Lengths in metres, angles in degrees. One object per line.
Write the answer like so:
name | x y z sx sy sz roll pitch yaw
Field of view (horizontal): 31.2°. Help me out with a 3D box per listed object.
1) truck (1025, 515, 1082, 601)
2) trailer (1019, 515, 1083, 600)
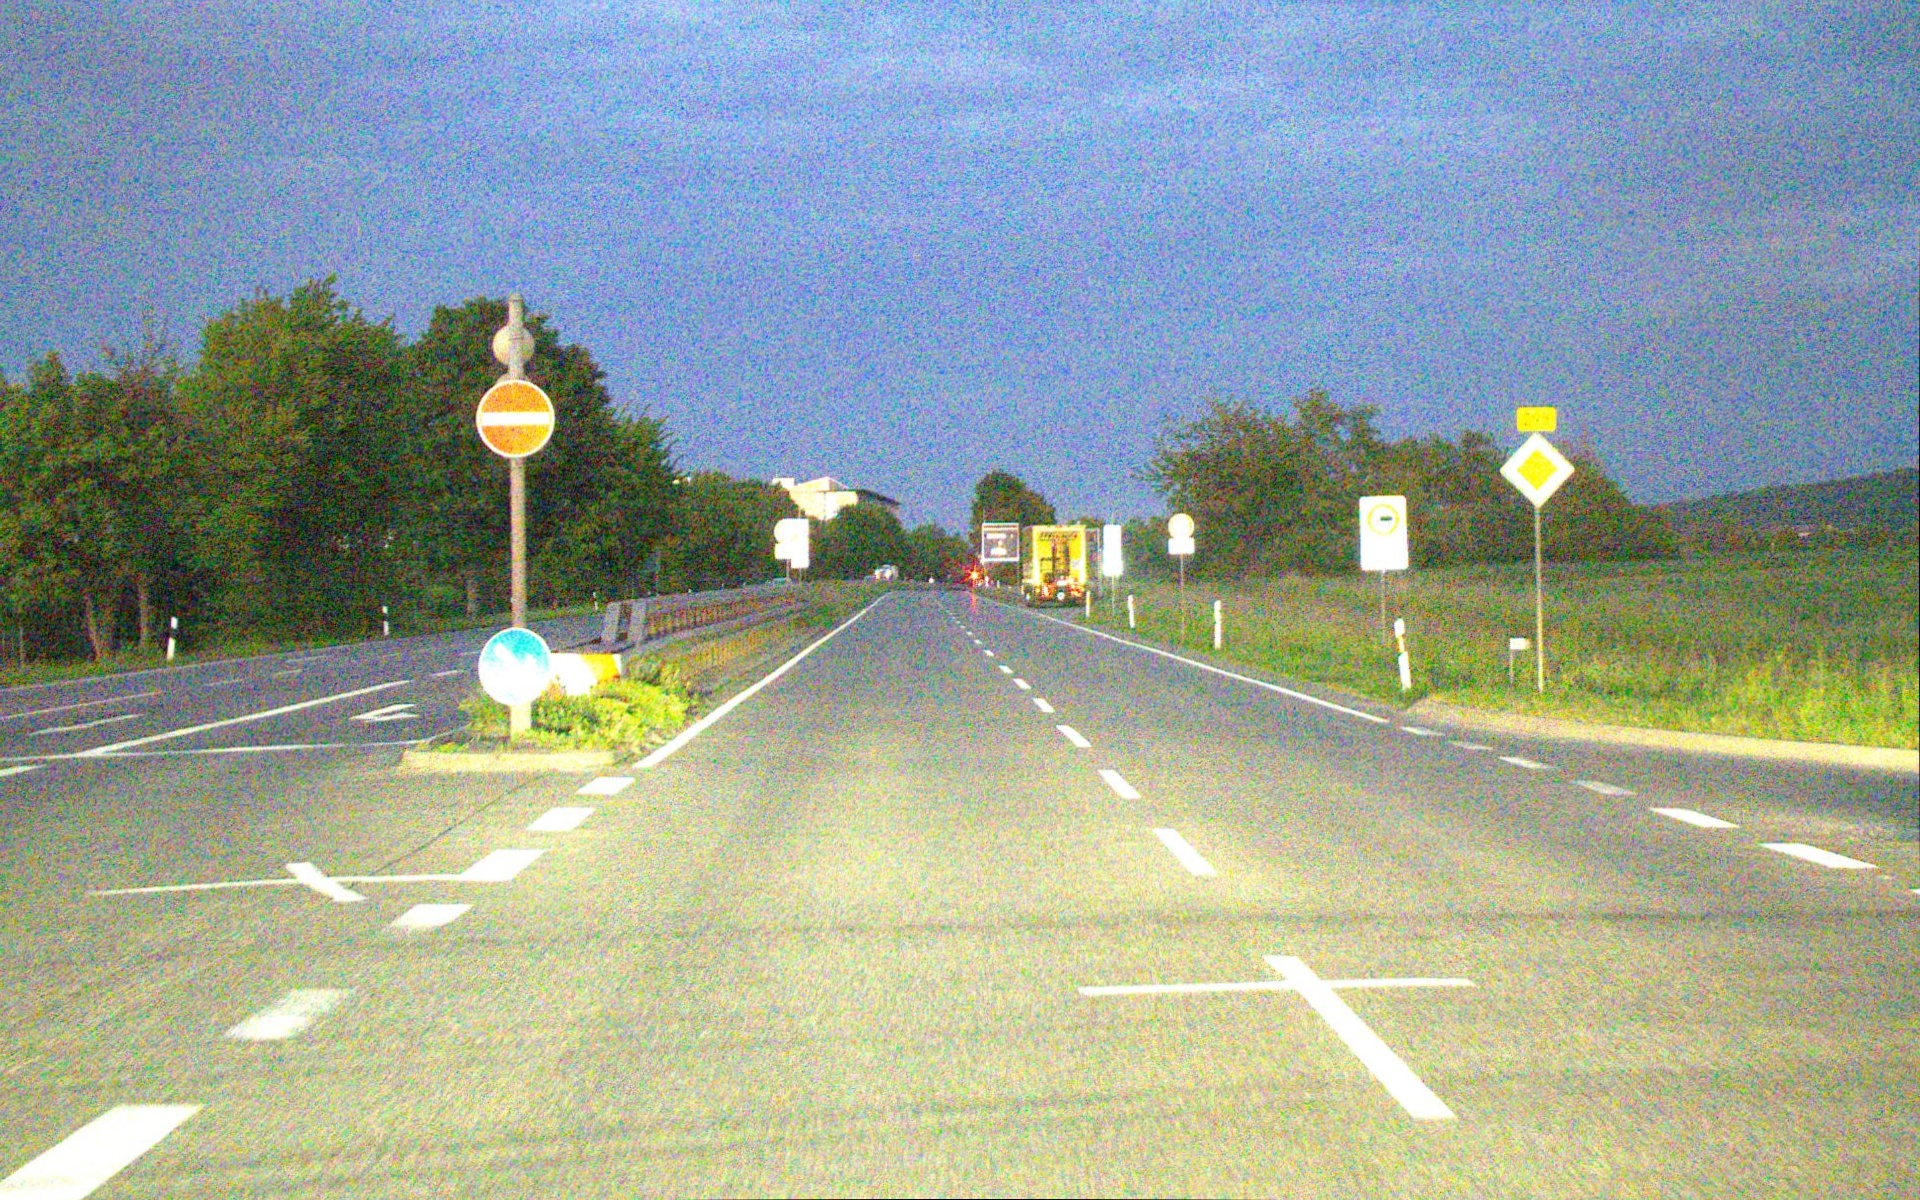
truck | 4.504 -2.039 166.253 2.579 4.057 6.130 1 1 0
trailer | 4.508 -2.115 172.360 2.622 4.090 12.938 -1 1 -1
